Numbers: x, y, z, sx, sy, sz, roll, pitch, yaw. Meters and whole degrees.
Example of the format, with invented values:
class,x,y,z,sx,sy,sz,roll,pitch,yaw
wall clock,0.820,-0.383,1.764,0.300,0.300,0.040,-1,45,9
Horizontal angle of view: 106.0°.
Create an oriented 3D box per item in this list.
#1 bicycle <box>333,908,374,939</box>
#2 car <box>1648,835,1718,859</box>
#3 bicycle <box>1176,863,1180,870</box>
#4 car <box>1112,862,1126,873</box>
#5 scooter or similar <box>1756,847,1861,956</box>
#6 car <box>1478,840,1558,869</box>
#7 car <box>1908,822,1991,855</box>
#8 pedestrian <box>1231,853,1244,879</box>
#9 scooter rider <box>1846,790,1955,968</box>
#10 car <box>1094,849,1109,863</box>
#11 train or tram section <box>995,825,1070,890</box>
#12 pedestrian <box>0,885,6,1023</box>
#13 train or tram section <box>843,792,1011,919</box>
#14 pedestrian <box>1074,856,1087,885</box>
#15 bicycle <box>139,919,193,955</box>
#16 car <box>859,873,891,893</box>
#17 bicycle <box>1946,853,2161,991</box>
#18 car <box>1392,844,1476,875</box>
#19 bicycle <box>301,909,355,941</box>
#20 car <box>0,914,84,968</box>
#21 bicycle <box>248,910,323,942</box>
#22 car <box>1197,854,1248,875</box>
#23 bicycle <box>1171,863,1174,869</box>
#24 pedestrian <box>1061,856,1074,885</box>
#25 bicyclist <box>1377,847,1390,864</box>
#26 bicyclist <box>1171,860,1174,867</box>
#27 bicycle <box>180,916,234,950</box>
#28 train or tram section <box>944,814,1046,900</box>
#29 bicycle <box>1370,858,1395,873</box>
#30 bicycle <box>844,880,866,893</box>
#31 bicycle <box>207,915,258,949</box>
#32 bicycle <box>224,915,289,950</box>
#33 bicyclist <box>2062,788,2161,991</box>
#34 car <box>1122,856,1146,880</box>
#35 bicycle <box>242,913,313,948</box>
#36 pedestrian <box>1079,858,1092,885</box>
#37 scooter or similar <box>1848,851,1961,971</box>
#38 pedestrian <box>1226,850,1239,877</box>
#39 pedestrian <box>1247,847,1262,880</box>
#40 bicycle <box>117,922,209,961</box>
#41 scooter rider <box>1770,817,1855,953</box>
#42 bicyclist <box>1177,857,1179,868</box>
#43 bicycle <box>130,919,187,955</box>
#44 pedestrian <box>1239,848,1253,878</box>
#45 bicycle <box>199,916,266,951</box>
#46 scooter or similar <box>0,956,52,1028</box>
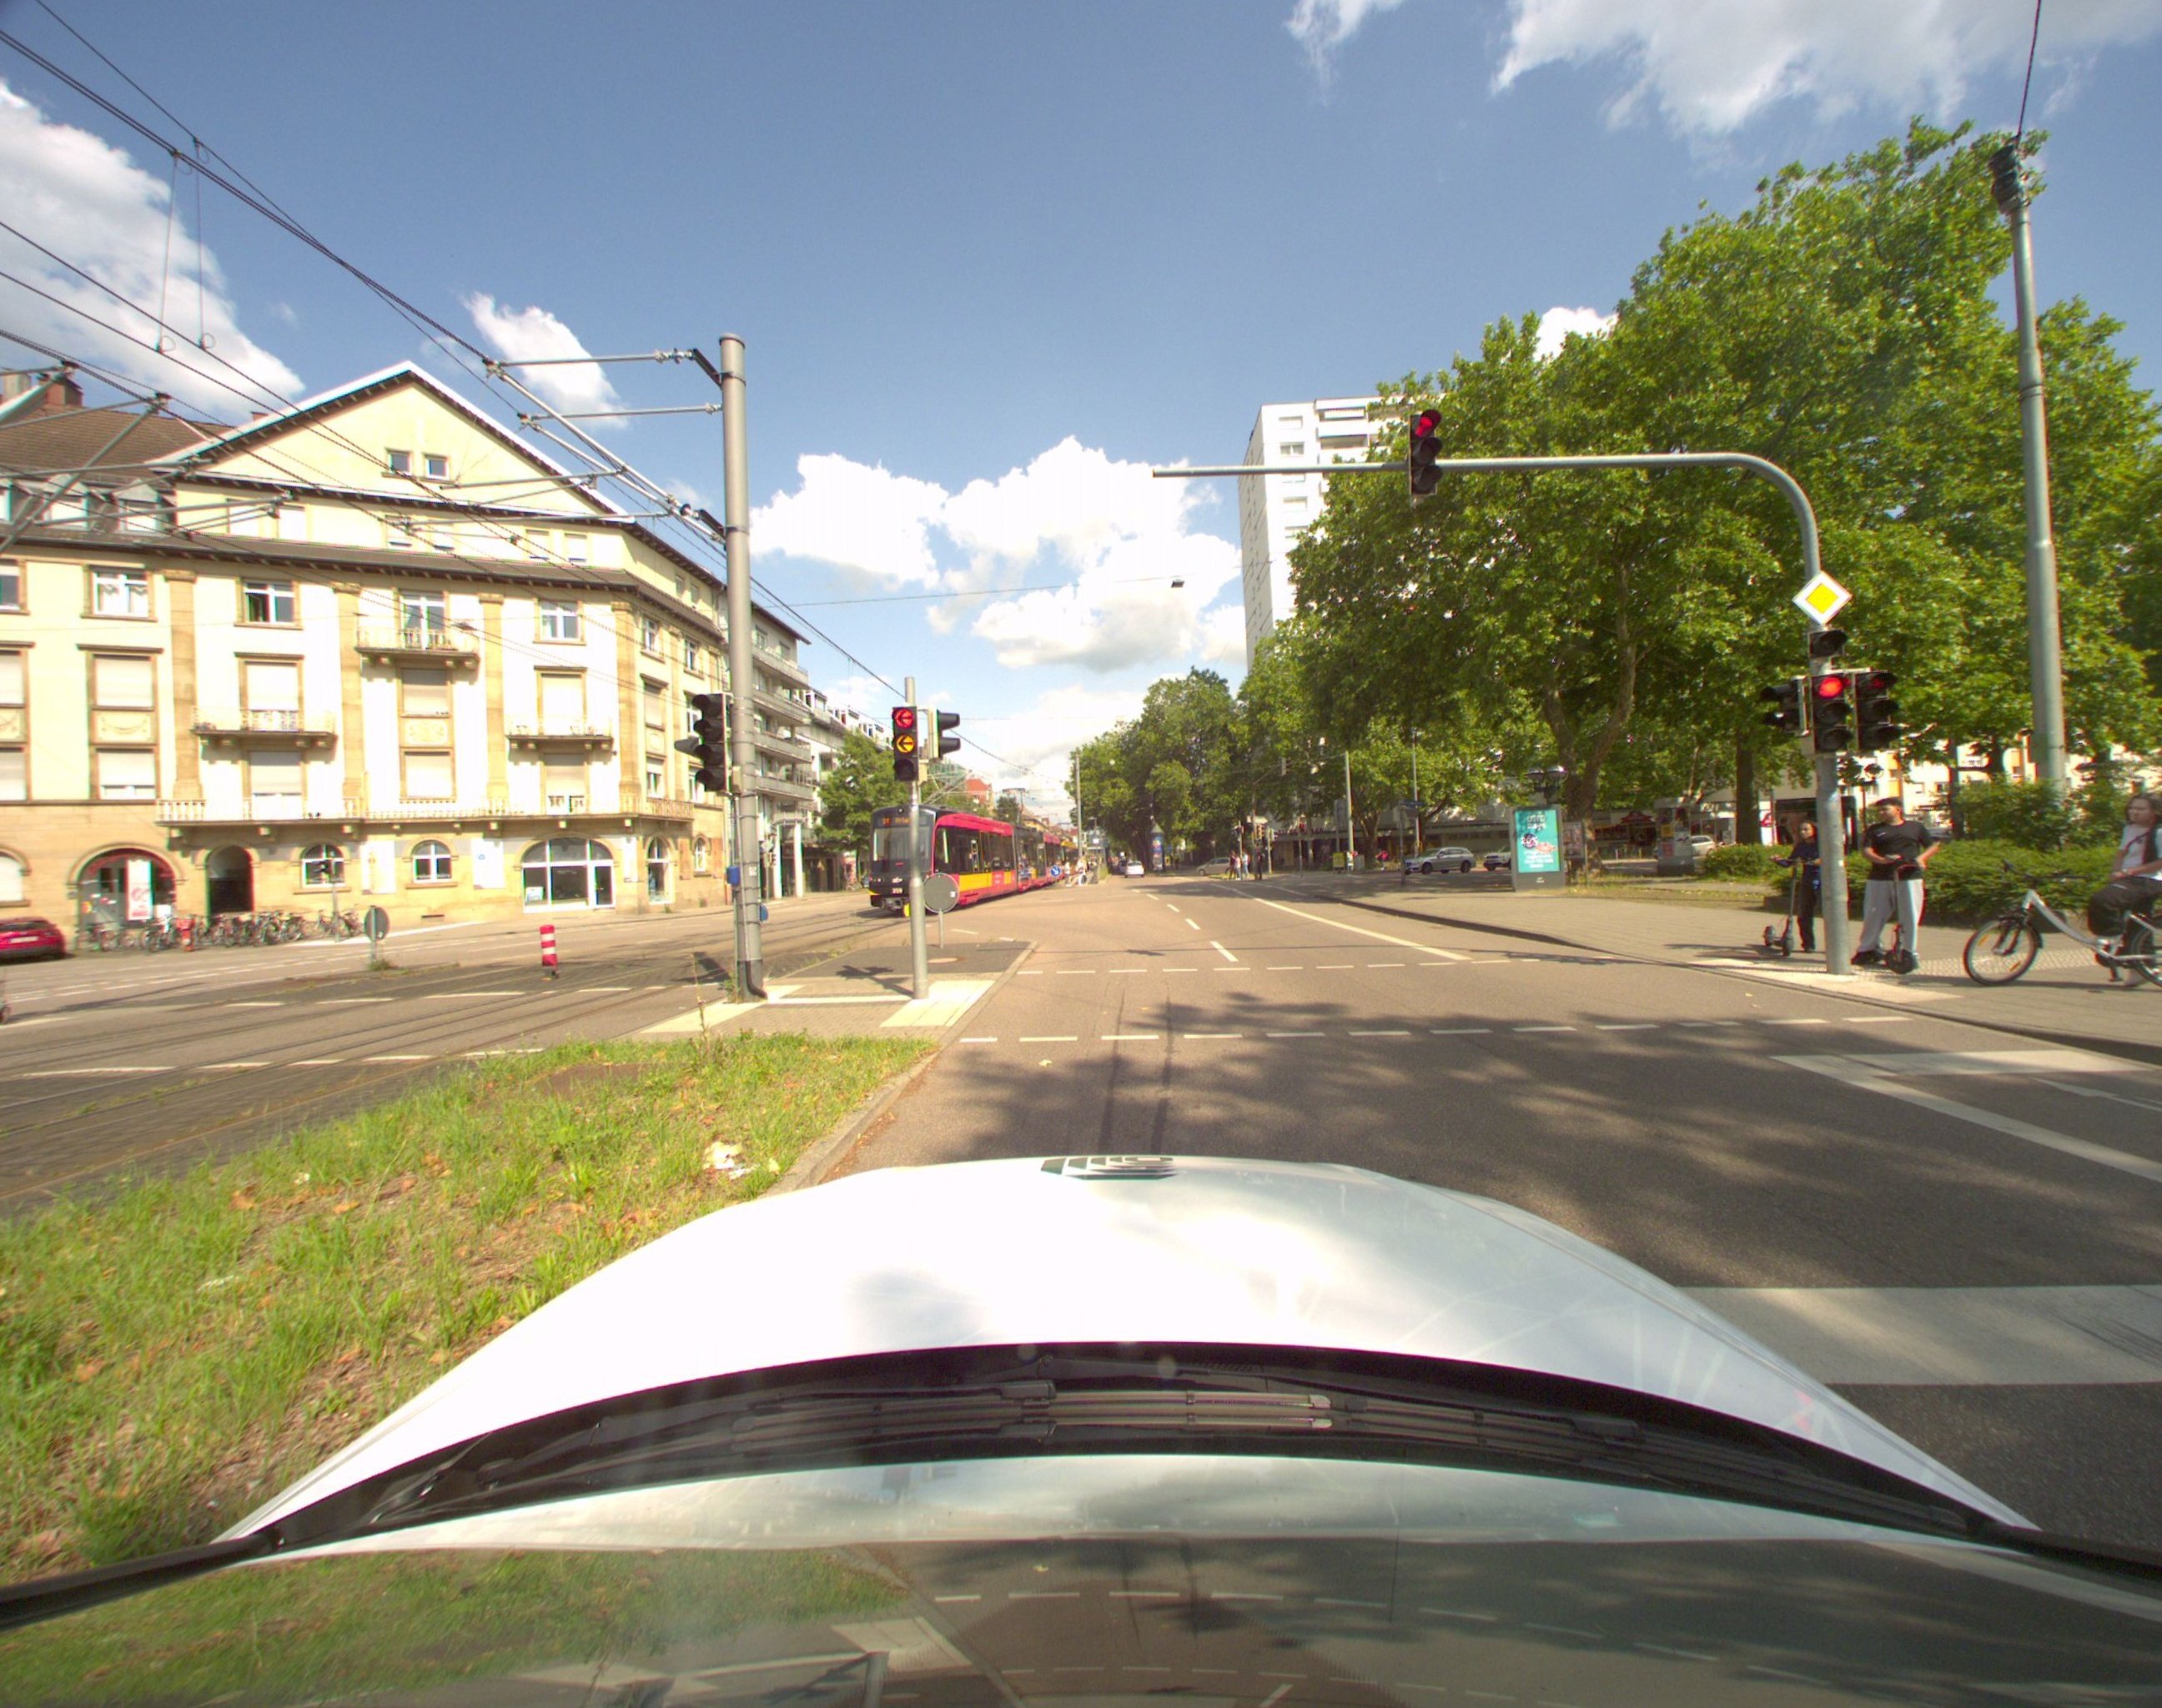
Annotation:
class,x,y,z,sx,sy,sz,roll,pitch,yaw
bicycle,-27.883,2.650,31.239,0.611,1.018,1.861,-3,1,-25
car,42.499,-0.468,57.529,3.837,1.490,1.855,-3,-1,-10
bicycle,11.435,1.432,95.987,0.278,0.786,0.956,0,-1,2
car,4.440,1.564,94.992,1.618,1.178,4.001,-1,-1,2
scooter or similar,8.873,0.562,9.940,0.877,1.226,0.541,-4,-1,-20
car,25.704,0.060,47.876,4.075,1.490,1.849,-3,-1,-19
car,47.294,-0.854,44.352,4.003,1.501,1.678,-4,0,-22
pedestrian,9.594,0.729,49.820,0.512,1.597,0.553,-3,-1,-19
scooter rider,8.714,0.262,8.689,0.538,1.810,0.684,-5,-1,28
car,2.930,0.239,114.440,1.806,1.804,4.006,-3,0,5
train or tram section,-2.842,0.229,52.313,2.792,3.561,12.174,-3,0,5
pedestrian,-13.849,1.264,9.979,0.525,1.732,0.557,-3,-1,-3
train or tram section,-4.993,0.076,29.419,2.782,3.561,11.392,-3,0,5
pedestrian,-0.024,0.976,49.207,0.666,1.703,0.649,-3,-1,5
bicycle,-31.869,2.874,28.395,0.541,1.018,1.912,-3,2,-27
car,-19.087,2.665,75.760,1.840,1.789,4.001,0,-1,2
bicycle,8.842,0.592,7.138,1.610,1.112,0.510,-6,-2,42
car,19.709,0.326,45.493,3.993,1.490,1.852,-3,-1,-15
bicycle,-28.634,2.681,30.996,0.609,1.018,1.868,-2,1,-13
car,-34.975,2.829,26.896,3.948,1.441,1.981,-1,1,31
bicycle,-30.239,2.739,30.984,1.928,1.018,0.537,-3,2,-20
car,11.232,0.817,64.718,3.558,1.453,1.765,-3,-1,36
bicycle,11.962,1.521,106.512,0.278,0.786,0.958,-1,-1,11
pedestrian,-0.824,1.016,49.272,0.666,1.703,0.649,-3,-1,5
bicyclist,22.077,0.113,59.472,0.803,1.251,0.485,-1,-1,30
bicyclist,11.962,1.212,106.502,0.278,0.855,0.361,-1,-1,11
bicycle,-31.841,2.853,29.699,0.541,1.018,1.914,-3,2,-23
train or tram section,-3.955,0.160,40.672,2.792,3.561,11.197,-3,0,5
bicycle,22.023,0.868,59.497,1.661,1.088,0.485,-1,-1,30
bicycle,-18.962,2.716,68.262,1.684,0.986,0.497,-3,-1,-1
bicycle,-31.215,2.841,29.999,0.541,1.018,1.914,-3,2,-23
bicycle,-29.727,2.805,29.396,0.538,1.018,1.923,-2,1,-8
bicyclist,9.006,0.291,6.976,0.576,1.668,0.510,-6,-2,41
car,4.821,1.250,73.908,1.986,2.014,4.001,-2,-1,2
bicycle,-28.948,2.749,29.381,0.598,1.018,1.879,-2,1,4
pedestrian,0.303,1.090,51.267,0.666,1.703,0.649,-3,-1,5
scooter or similar,8.741,0.588,8.684,0.538,1.171,0.882,-5,-1,28
pedestrian,9.380,0.583,50.366,0.512,1.671,0.553,-3,-1,-19
pedestrian,9.871,0.537,46.353,0.475,1.825,0.560,-4,-1,45
bicycle,-30.702,2.915,27.281,1.938,1.018,0.534,-3,2,-39
scooter rider,8.949,0.373,9.972,0.438,1.593,0.541,-4,-1,-20
bicyclist,11.431,1.021,95.997,0.278,1.228,0.282,0,-1,1
bicycle,-32.777,2.925,28.966,0.541,1.018,1.914,-3,2,-23
pedestrian,9.817,0.558,48.460,0.529,1.735,0.553,-3,-1,-19
bicycle,-30.242,2.818,29.074,0.538,1.018,1.923,-2,2,-8
scooter or similar,-13.421,1.712,9.989,0.836,0.804,0.553,-3,-1,-2
